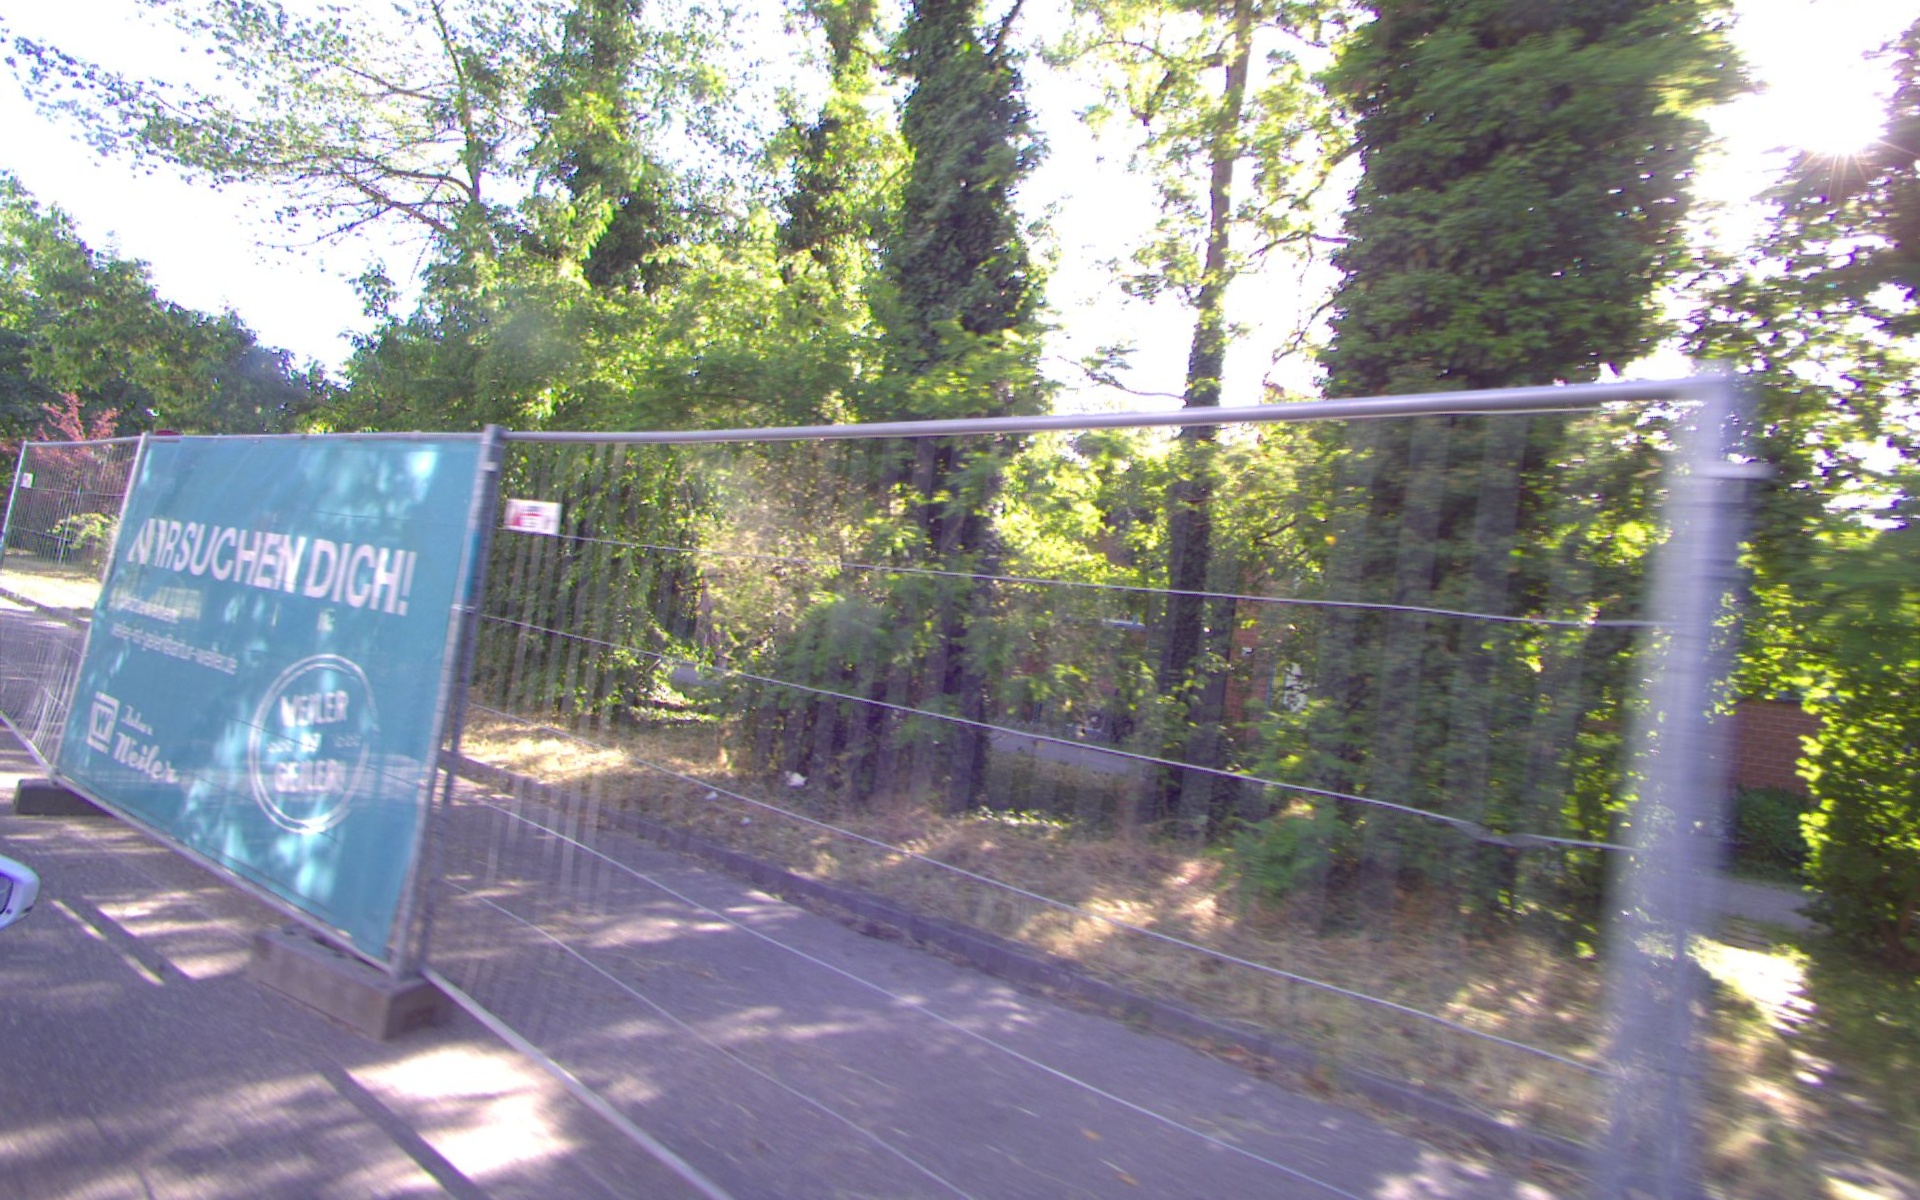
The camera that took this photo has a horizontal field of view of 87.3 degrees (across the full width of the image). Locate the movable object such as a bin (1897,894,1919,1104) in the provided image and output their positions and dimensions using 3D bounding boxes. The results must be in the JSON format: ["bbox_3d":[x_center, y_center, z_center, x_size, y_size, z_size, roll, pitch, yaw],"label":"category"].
[{"bbox_3d":[4.555,1.808,4.380,0.550,0.870,0.485,7,-3,34],"label":"movable object such as a bin"}]

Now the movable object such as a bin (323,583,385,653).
[{"bbox_3d":[-9.612,0.285,15.964,0.599,1.011,0.563,6,-1,37],"label":"movable object such as a bin"}]

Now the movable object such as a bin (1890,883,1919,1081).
[{"bbox_3d":[4.870,1.866,4.757,0.550,0.870,0.485,7,-3,34],"label":"movable object such as a bin"}]

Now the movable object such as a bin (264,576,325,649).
[{"bbox_3d":[-10.106,0.194,15.276,0.599,1.011,0.519,6,-1,37],"label":"movable object such as a bin"}]
